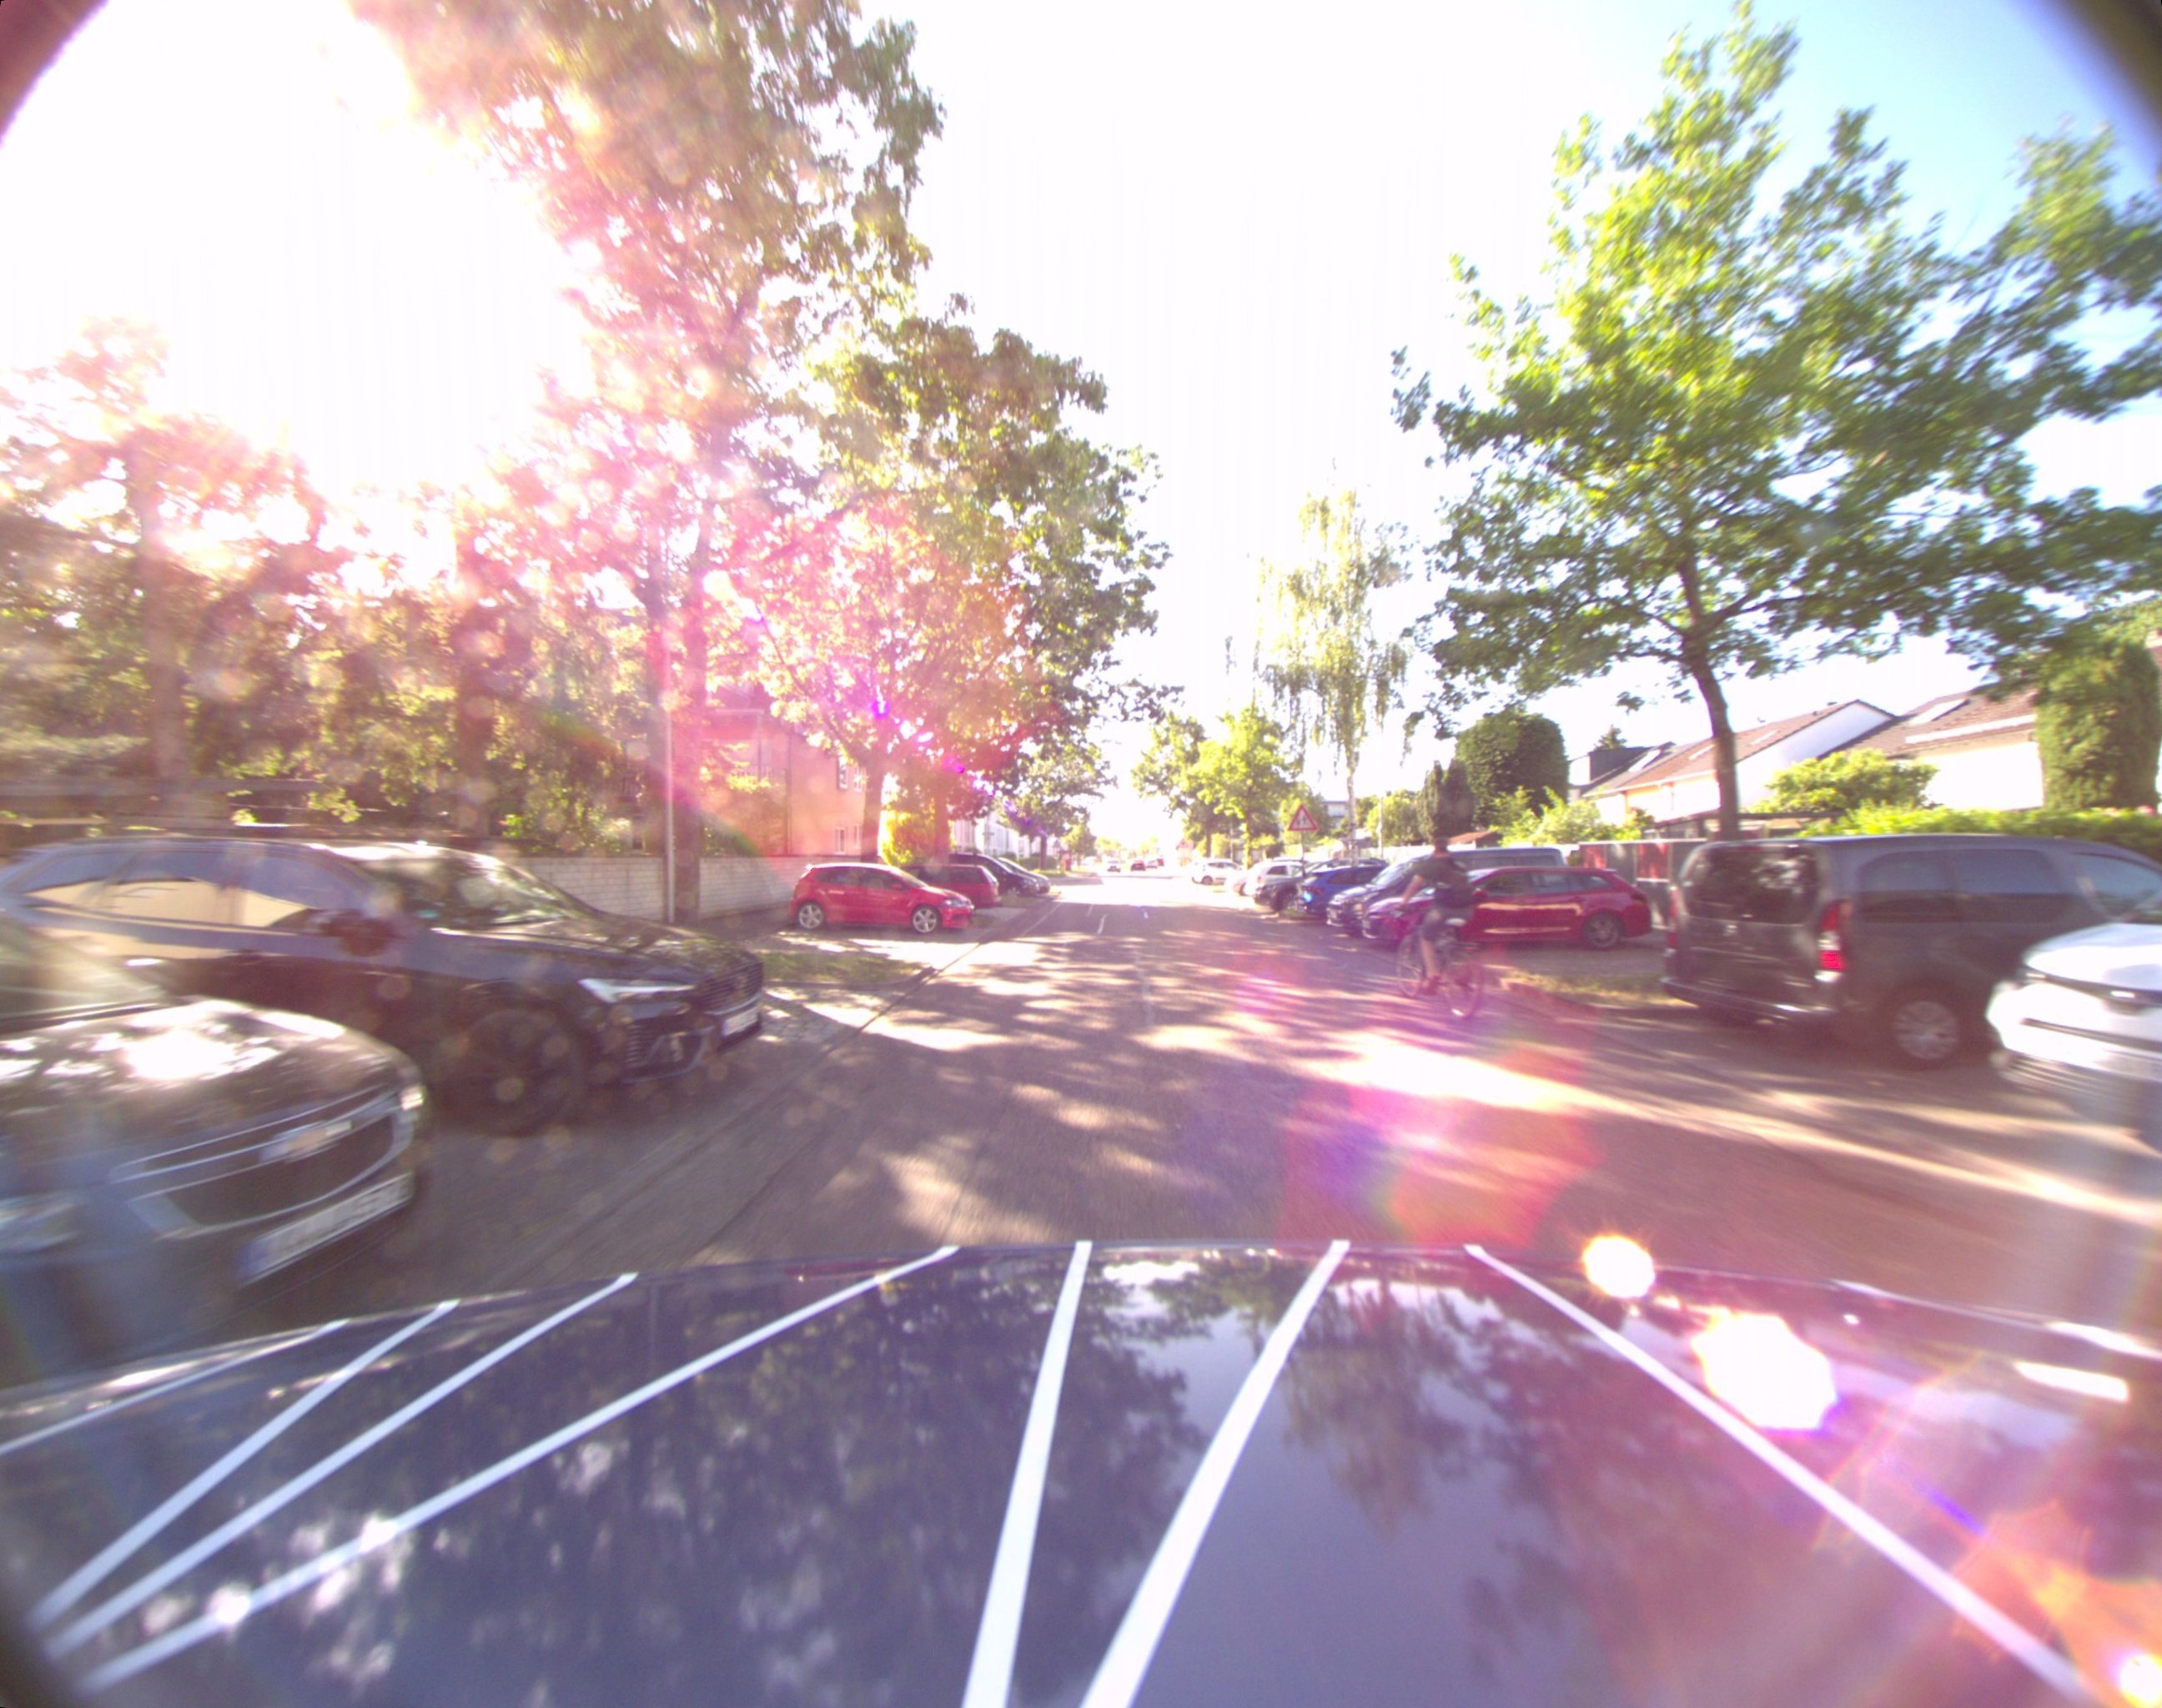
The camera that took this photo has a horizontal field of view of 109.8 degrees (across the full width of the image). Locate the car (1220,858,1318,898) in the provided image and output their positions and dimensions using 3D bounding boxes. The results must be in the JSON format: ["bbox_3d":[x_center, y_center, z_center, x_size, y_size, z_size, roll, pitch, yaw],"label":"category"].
[{"bbox_3d":[8.280,1.044,33.716,3.948,1.604,1.706,-2,0,3],"label":"car"}]

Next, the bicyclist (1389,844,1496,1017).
[{"bbox_3d":[3.715,0.746,7.892,0.597,1.664,0.975,2,1,2],"label":"bicyclist"}]

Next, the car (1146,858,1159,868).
[{"bbox_3d":[9.940,1.246,105.915,1.764,1.390,3.852,0,0,5],"label":"car"}]

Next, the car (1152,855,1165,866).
[{"bbox_3d":[11.497,0.991,112.970,1.764,1.469,3.852,2,0,5],"label":"car"}]

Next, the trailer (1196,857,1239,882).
[{"bbox_3d":[9.637,1.059,53.610,2.766,1.638,1.299,-1,2,-2],"label":"trailer"}]

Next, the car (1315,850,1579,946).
[{"bbox_3d":[7.583,0.884,16.075,4.685,1.758,1.795,-2,0,0],"label":"car"}]

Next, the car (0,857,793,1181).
[{"bbox_3d":[-4.570,0.897,5.037,4.585,1.637,1.838,1,0,0],"label":"car"}]

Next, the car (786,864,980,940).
[{"bbox_3d":[-4.276,1.014,16.807,3.786,1.475,1.755,1,1,2],"label":"car"}]

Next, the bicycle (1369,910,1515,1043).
[{"bbox_3d":[3.710,1.203,8.008,0.598,1.052,1.986,2,0,2],"label":"bicycle"}]

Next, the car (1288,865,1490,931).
[{"bbox_3d":[7.485,1.051,18.793,4.281,1.416,1.724,-2,0,2],"label":"car"}]

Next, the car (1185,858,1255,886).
[{"bbox_3d":[8.832,1.115,48.491,3.964,1.565,1.921,-2,1,-4],"label":"car"}]

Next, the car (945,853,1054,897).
[{"bbox_3d":[-3.522,0.895,33.533,4.514,1.670,1.879,2,1,1],"label":"car"}]

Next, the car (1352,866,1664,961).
[{"bbox_3d":[7.384,1.014,13.526,4.486,1.491,1.837,-1,0,4],"label":"car"}]

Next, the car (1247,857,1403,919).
[{"bbox_3d":[7.431,1.021,23.413,4.220,1.714,1.761,-2,0,1],"label":"car"}]

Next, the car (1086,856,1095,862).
[{"bbox_3d":[2.208,1.237,176.407,1.830,1.324,3.678,0,0,5],"label":"car"}]

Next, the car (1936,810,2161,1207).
[{"bbox_3d":[7.374,0.749,3.715,4.248,1.932,2.000,0,0,-2],"label":"car"}]

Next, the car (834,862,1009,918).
[{"bbox_3d":[-4.441,0.983,21.610,4.513,1.437,1.838,1,0,2],"label":"car"}]

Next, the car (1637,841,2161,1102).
[{"bbox_3d":[7.553,0.822,6.447,4.250,1.760,1.967,-2,0,-2],"label":"car"}]

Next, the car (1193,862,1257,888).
[{"bbox_3d":[8.680,1.233,45.903,3.523,1.487,1.708,0,0,0],"label":"car"}]

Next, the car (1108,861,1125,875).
[{"bbox_3d":[3.994,1.530,84.891,1.877,1.469,3.852,0,0,4],"label":"car"}]

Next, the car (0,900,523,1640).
[{"bbox_3d":[-4.573,0.959,2.339,4.331,1.521,1.840,1,0,0],"label":"car"}]

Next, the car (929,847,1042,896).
[{"bbox_3d":[-3.768,0.685,30.508,4.222,1.771,1.789,2,0,2],"label":"car"}]

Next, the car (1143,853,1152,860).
[{"bbox_3d":[13.110,0.489,149.980,1.877,1.470,3.851,0,1,4],"label":"car"}]

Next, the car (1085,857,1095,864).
[{"bbox_3d":[1.990,1.522,169.298,1.944,1.412,4.000,0,1,4],"label":"car"}]

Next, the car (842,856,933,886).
[{"bbox_3d":[-11.991,1.052,47.309,5.208,1.805,1.912,0,1,-2],"label":"car"}]

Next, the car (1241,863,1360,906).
[{"bbox_3d":[8.154,1.133,28.502,4.010,1.506,1.795,0,0,3],"label":"car"}]

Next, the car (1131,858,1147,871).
[{"bbox_3d":[7.003,1.291,91.429,1.741,1.531,3.949,0,0,6],"label":"car"}]
